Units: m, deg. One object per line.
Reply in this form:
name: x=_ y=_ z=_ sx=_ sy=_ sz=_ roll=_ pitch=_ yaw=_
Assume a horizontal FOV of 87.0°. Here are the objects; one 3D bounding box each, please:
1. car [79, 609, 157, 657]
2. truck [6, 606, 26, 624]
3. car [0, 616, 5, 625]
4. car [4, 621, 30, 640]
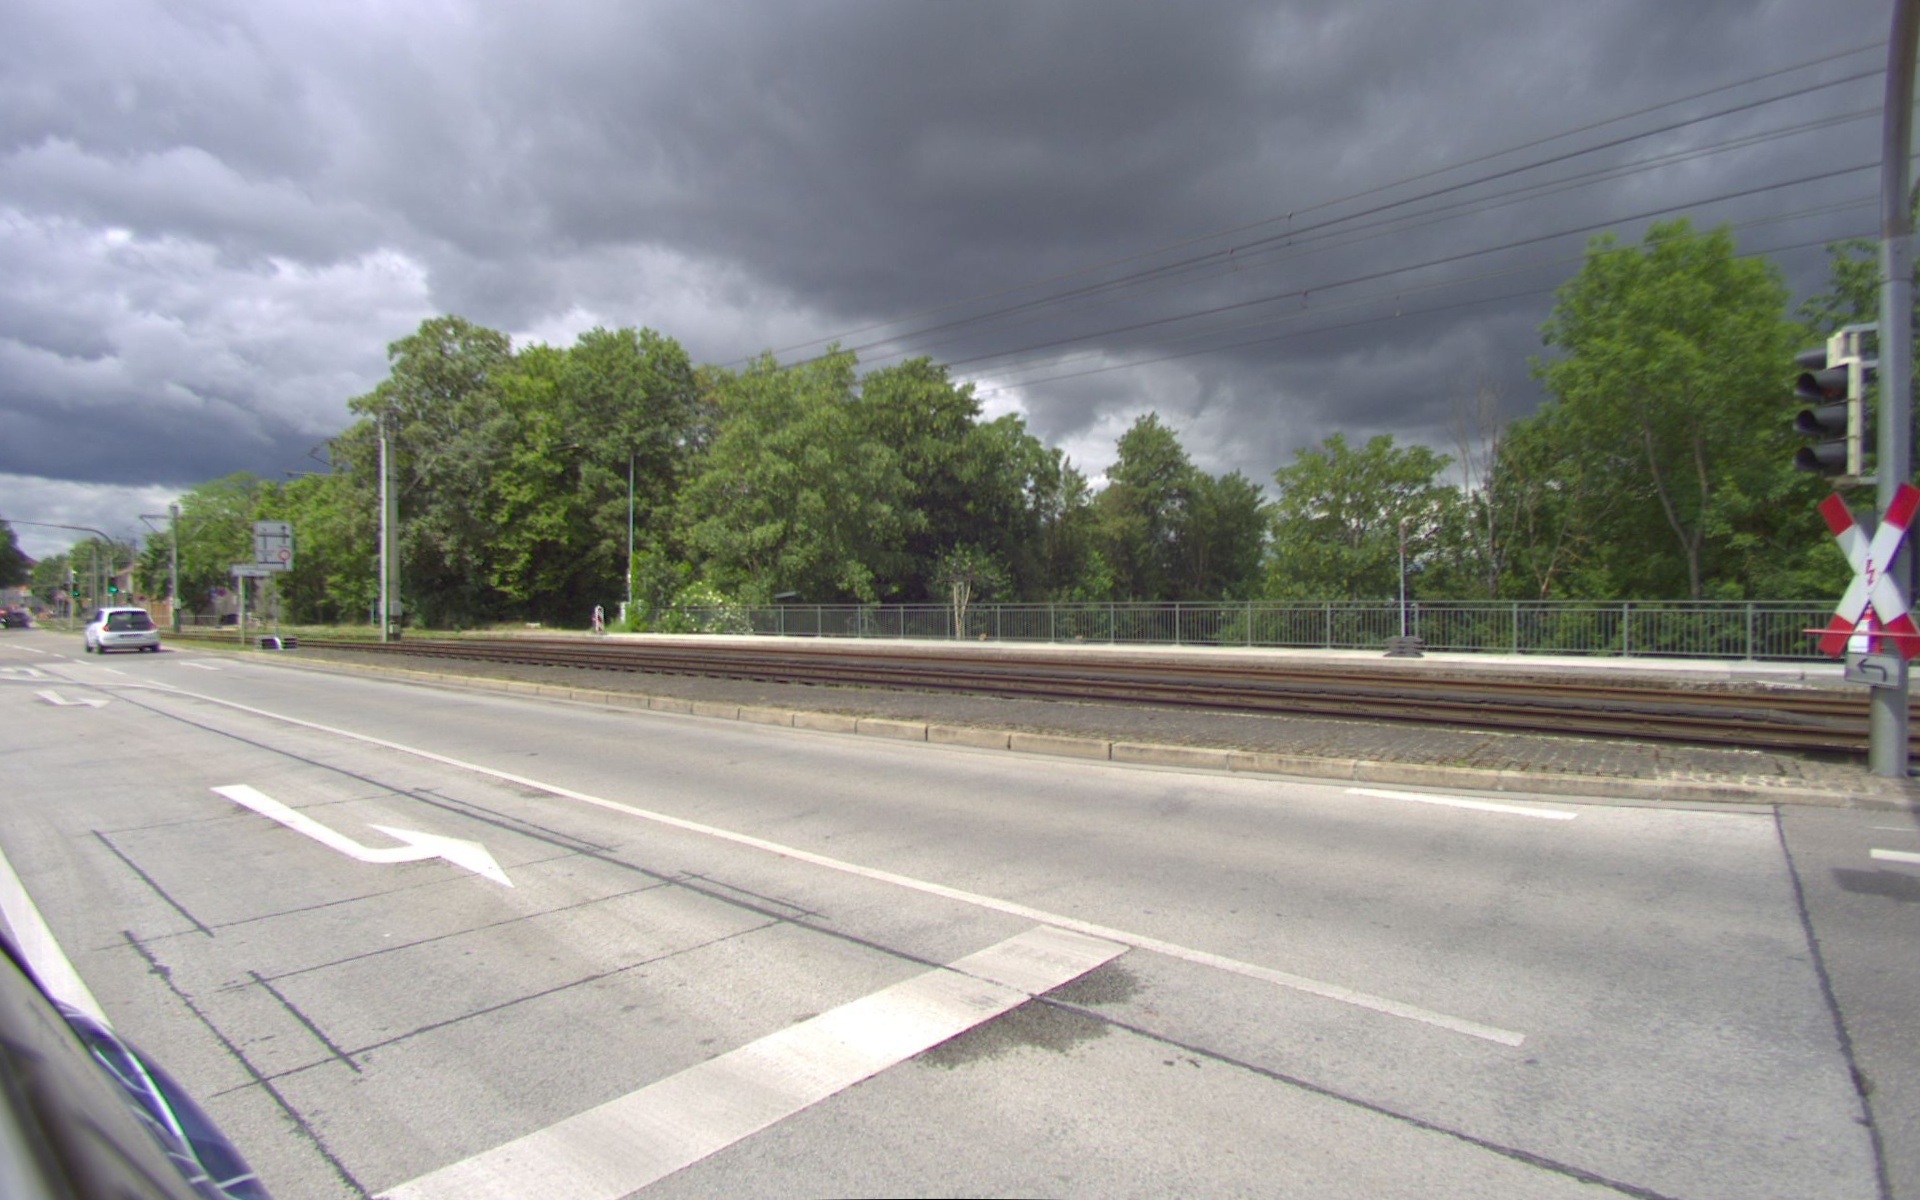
car: x=-28.980 y=1.101 z=34.800 sx=3.654 sy=1.538 sz=1.576 roll=-1 pitch=0 yaw=42
truck: x=-152.585 y=2.439 z=163.620 sx=5.100 sy=2.759 sz=2.067 roll=-1 pitch=2 yaw=44
car: x=-155.419 y=3.338 z=163.385 sx=1.562 sy=1.496 sz=3.812 roll=-3 pitch=1 yaw=-40
car: x=-92.311 y=2.965 z=99.075 sx=1.688 sy=1.688 sz=4.231 roll=-3 pitch=1 yaw=-45
